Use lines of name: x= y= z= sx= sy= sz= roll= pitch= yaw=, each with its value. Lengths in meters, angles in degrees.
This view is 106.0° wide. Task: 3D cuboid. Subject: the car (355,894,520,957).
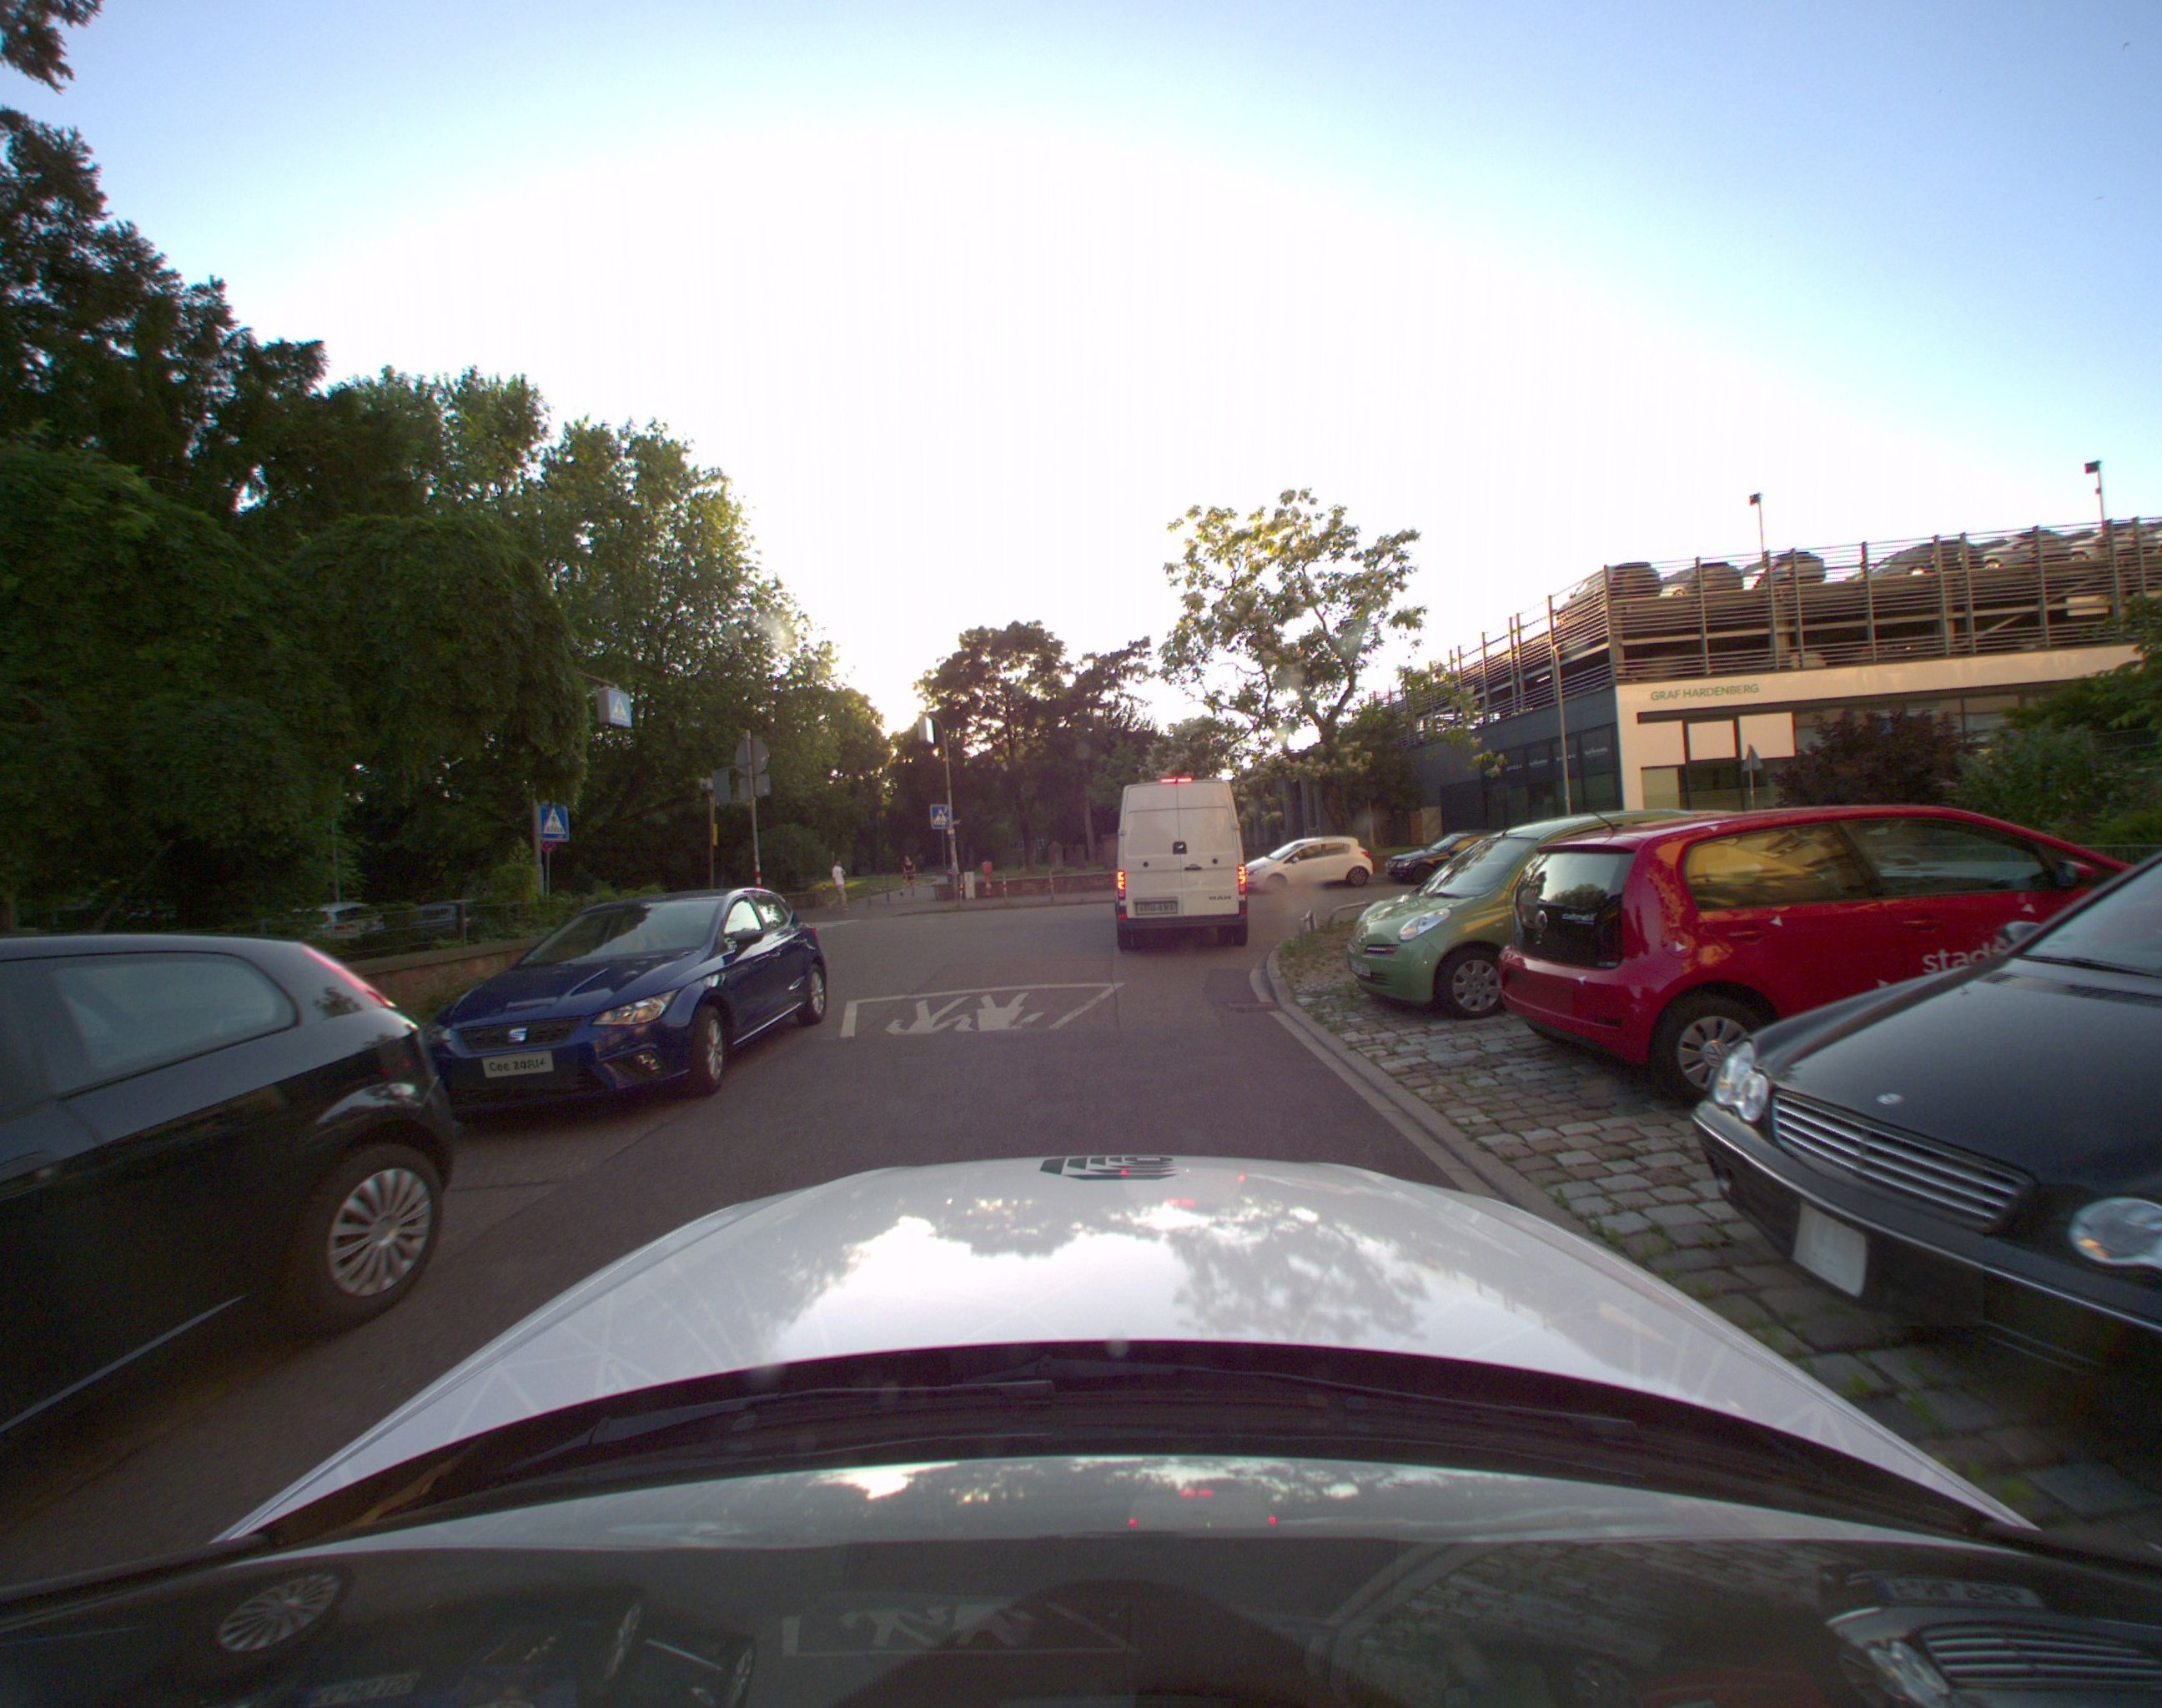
car: x=-20.731 y=2.288 z=26.342 sx=3.831 sy=1.491 sz=1.828 roll=-4 pitch=6 yaw=7

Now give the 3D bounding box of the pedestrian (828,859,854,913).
pedestrian: x=-8.271 y=1.094 z=28.084 sx=0.591 sy=1.809 sz=0.621 roll=-2 pitch=0 yaw=2

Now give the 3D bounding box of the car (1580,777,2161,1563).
car: x=4.225 y=0.455 z=2.327 sx=4.392 sy=1.531 sz=1.844 roll=-5 pitch=-2 yaw=-2

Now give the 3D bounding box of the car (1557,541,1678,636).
car: x=19.375 y=-9.537 z=29.646 sx=1.983 sy=2.013 sz=4.007 roll=-3 pitch=0 yaw=6

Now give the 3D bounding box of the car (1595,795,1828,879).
car: x=14.423 y=-0.363 z=18.820 sx=3.819 sy=1.523 sz=1.826 roll=-5 pitch=0 yaw=5

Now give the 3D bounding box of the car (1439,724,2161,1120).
car: x=4.875 y=0.262 z=5.021 sx=4.386 sy=1.631 sz=1.847 roll=-8 pitch=-1 yaw=2

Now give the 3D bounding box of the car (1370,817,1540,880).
car: x=11.286 y=-0.155 z=24.836 sx=4.273 sy=1.503 sz=1.826 roll=-5 pitch=0 yaw=5

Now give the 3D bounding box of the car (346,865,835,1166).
car: x=-3.437 y=0.966 z=6.681 sx=1.730 sy=1.567 sz=3.786 roll=-5 pitch=0 yaw=-3

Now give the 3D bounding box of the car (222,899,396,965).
car: x=-25.439 y=2.547 z=26.931 sx=3.852 sy=1.562 sz=1.826 roll=-5 pitch=6 yaw=4

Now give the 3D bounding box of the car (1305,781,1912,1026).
car: x=4.605 y=0.423 z=7.612 sx=4.392 sy=1.631 sz=1.844 roll=-5 pitch=-2 yaw=-2

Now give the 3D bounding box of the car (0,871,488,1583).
car: x=-3.331 y=0.921 z=1.493 sx=1.729 sy=1.567 sz=3.694 roll=-5 pitch=0 yaw=-2

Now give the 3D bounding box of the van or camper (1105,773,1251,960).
van or camper: x=1.638 y=0.190 z=14.935 sx=1.984 sy=2.618 sz=6.410 roll=-2 pitch=0 yaw=4

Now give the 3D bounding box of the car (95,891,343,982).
car: x=-20.994 y=1.974 z=19.949 sx=4.211 sy=1.799 sz=1.824 roll=-5 pitch=-3 yaw=2

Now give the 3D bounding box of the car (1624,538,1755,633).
car: x=21.938 y=-9.635 z=29.595 sx=1.983 sy=2.013 sz=4.007 roll=-3 pitch=0 yaw=6

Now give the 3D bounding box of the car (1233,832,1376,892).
car: x=6.854 y=0.244 z=25.250 sx=3.844 sy=1.574 sz=1.957 roll=-3 pitch=0 yaw=-2

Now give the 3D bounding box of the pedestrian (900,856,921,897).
pedestrian: x=-6.982 y=0.904 z=33.360 sx=0.644 sy=1.649 sz=0.674 roll=-2 pitch=0 yaw=1

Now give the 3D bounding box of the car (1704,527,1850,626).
car: x=24.646 y=-9.769 z=29.045 sx=1.983 sy=2.013 sz=4.007 roll=-3 pitch=0 yaw=6
